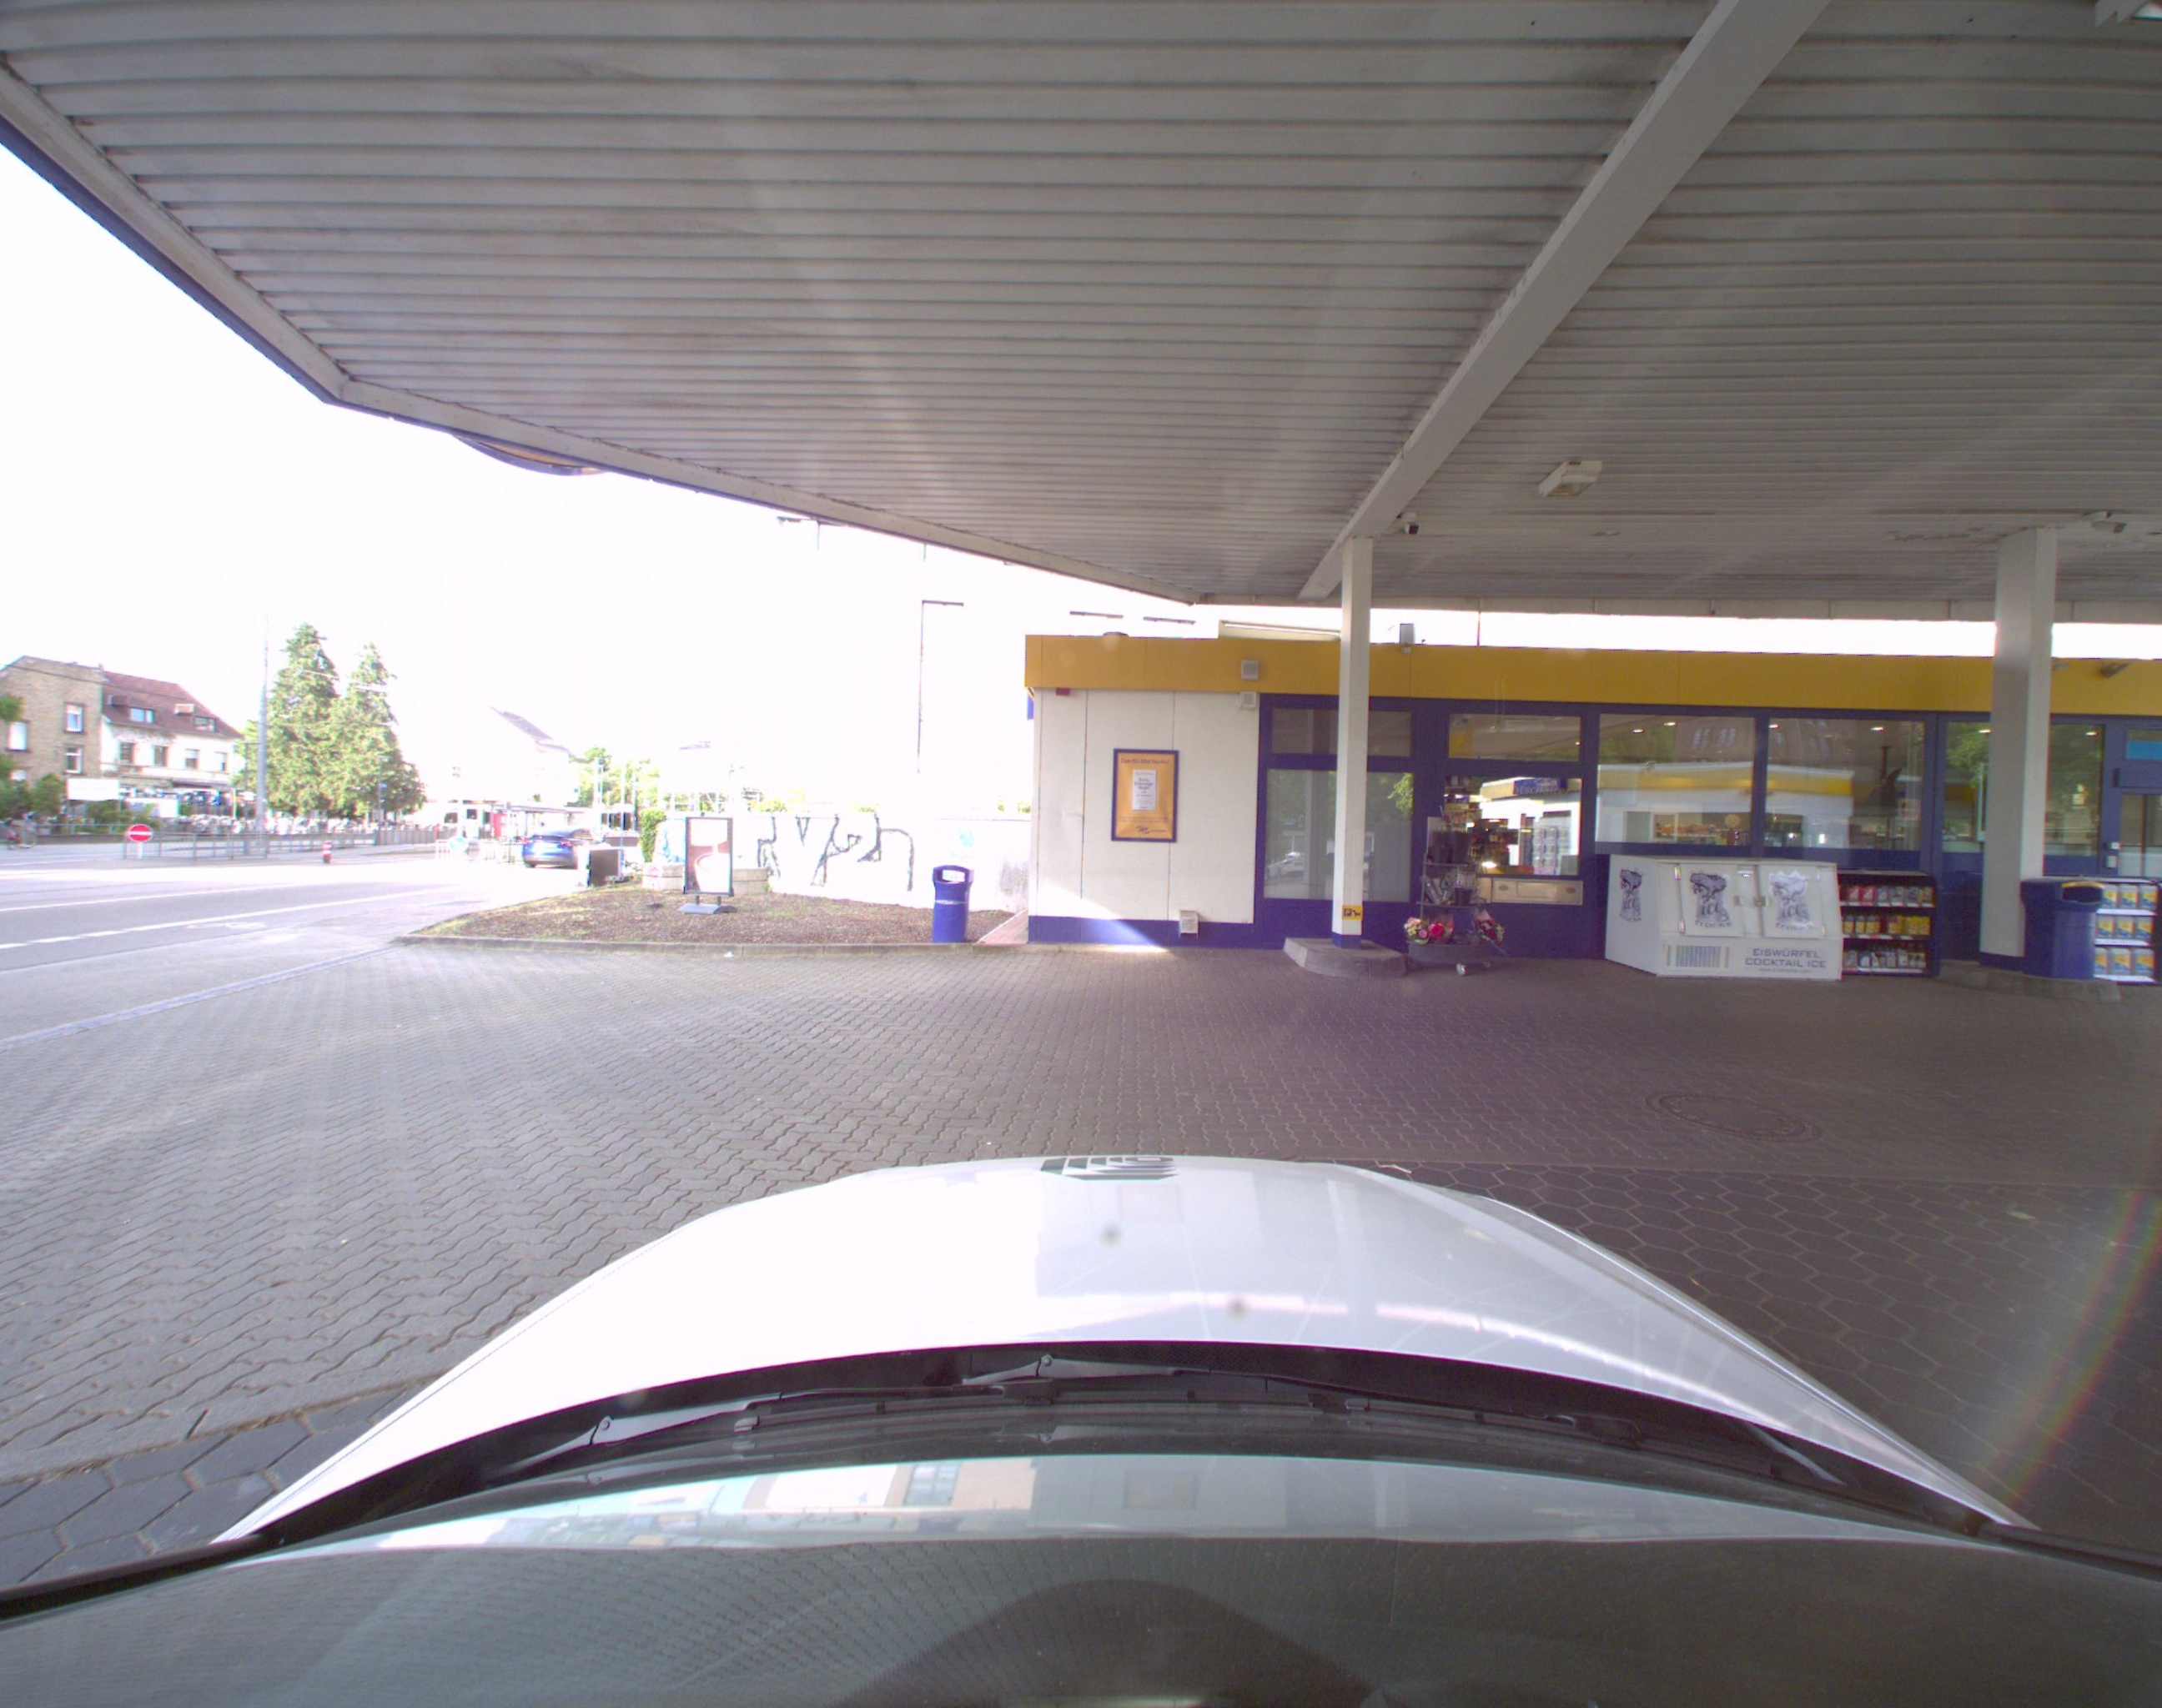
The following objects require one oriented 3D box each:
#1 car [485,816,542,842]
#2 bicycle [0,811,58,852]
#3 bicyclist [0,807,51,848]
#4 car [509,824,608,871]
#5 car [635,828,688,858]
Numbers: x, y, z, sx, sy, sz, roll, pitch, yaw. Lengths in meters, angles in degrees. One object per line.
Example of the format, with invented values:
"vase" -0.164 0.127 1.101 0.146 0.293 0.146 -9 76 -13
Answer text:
"car" -45.283 -2.011 65.135 1.995 1.968 4.869 1 2 -13
"bicycle" -41.153 -0.888 31.708 0.790 1.492 1.975 4 0 -25
"bicyclist" -41.135 -1.028 31.720 0.790 1.492 1.087 4 0 -26
"car" -20.587 -0.269 32.347 1.767 1.657 4.828 2 0 -14
"car" -23.928 -0.637 46.628 1.767 1.543 4.111 2 0 -15
